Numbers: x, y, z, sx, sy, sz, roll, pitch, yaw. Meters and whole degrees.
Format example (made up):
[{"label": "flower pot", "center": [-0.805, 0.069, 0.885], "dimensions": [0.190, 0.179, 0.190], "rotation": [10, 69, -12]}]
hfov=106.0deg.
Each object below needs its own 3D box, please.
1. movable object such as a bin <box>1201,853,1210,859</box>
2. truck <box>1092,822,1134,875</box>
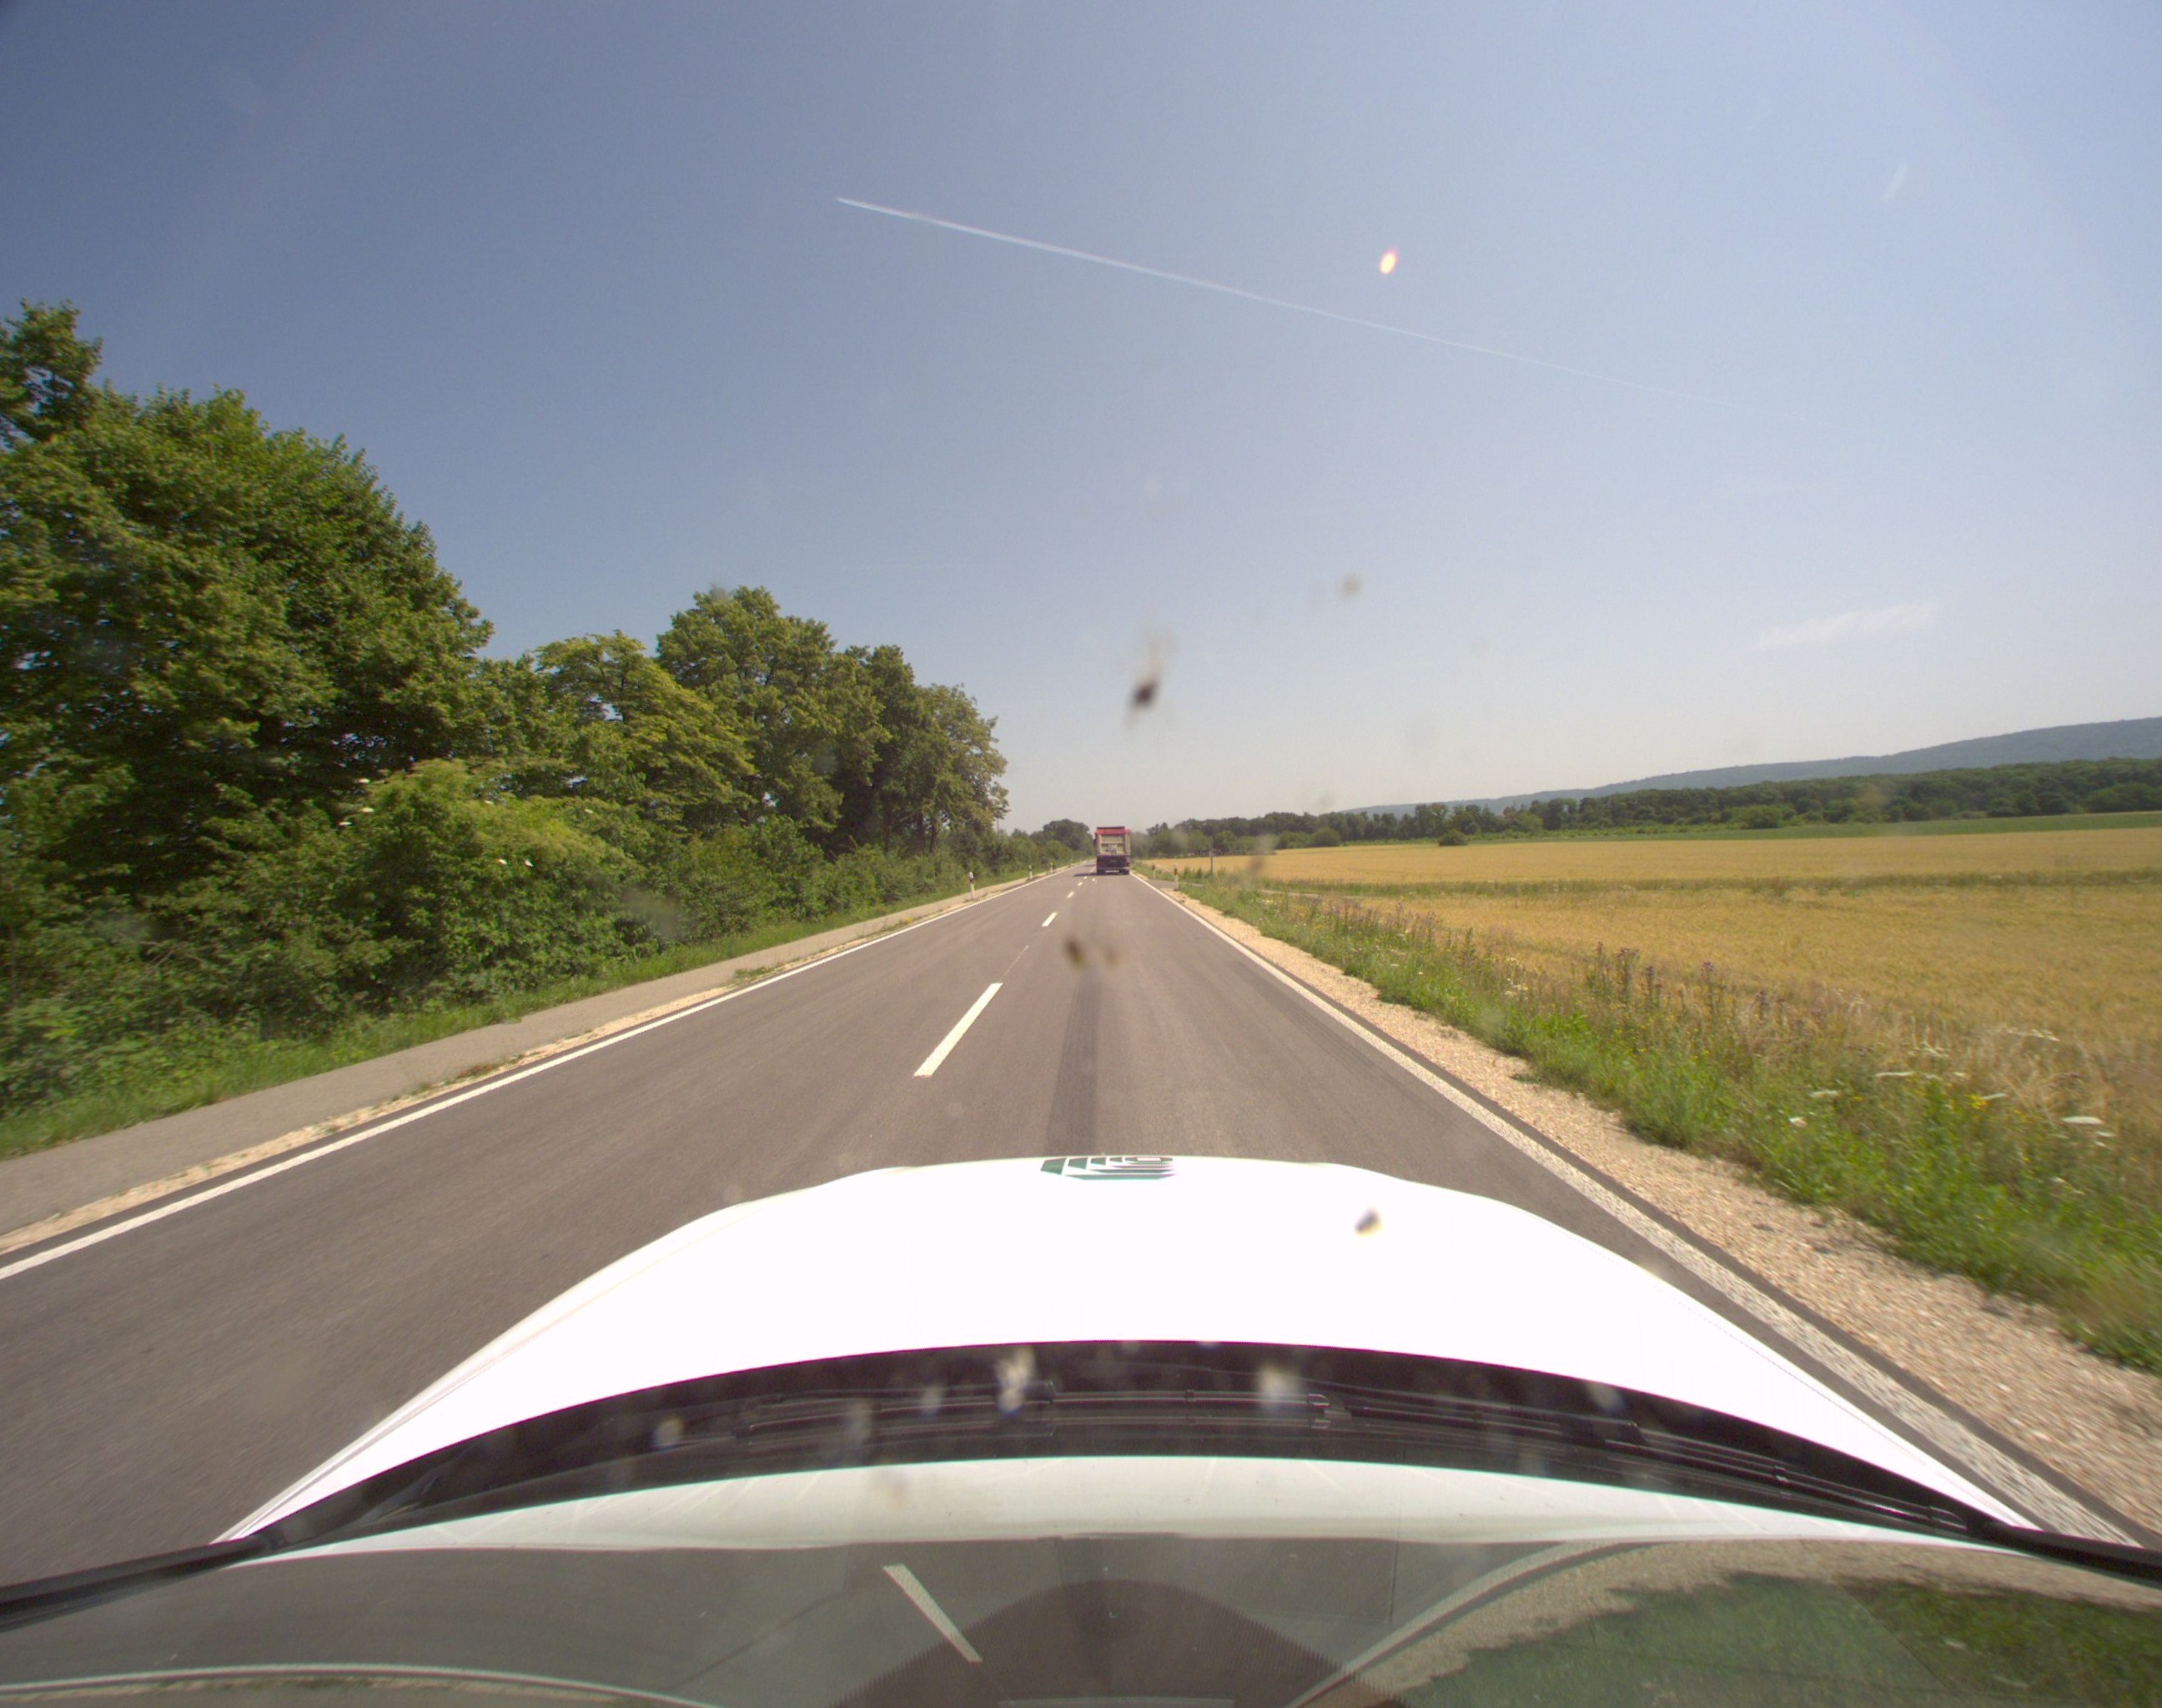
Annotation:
[{"label": "movable object such as a bin", "center": [33.687, 0.592, 220.499], "dimensions": [1.567, 1.496, 3.655], "rotation": [-2, 0, -3]}, {"label": "truck", "center": [2.526, -0.373, 65.849], "dimensions": [2.998, 3.874, 12.213], "rotation": [-1, -1, 2]}]
